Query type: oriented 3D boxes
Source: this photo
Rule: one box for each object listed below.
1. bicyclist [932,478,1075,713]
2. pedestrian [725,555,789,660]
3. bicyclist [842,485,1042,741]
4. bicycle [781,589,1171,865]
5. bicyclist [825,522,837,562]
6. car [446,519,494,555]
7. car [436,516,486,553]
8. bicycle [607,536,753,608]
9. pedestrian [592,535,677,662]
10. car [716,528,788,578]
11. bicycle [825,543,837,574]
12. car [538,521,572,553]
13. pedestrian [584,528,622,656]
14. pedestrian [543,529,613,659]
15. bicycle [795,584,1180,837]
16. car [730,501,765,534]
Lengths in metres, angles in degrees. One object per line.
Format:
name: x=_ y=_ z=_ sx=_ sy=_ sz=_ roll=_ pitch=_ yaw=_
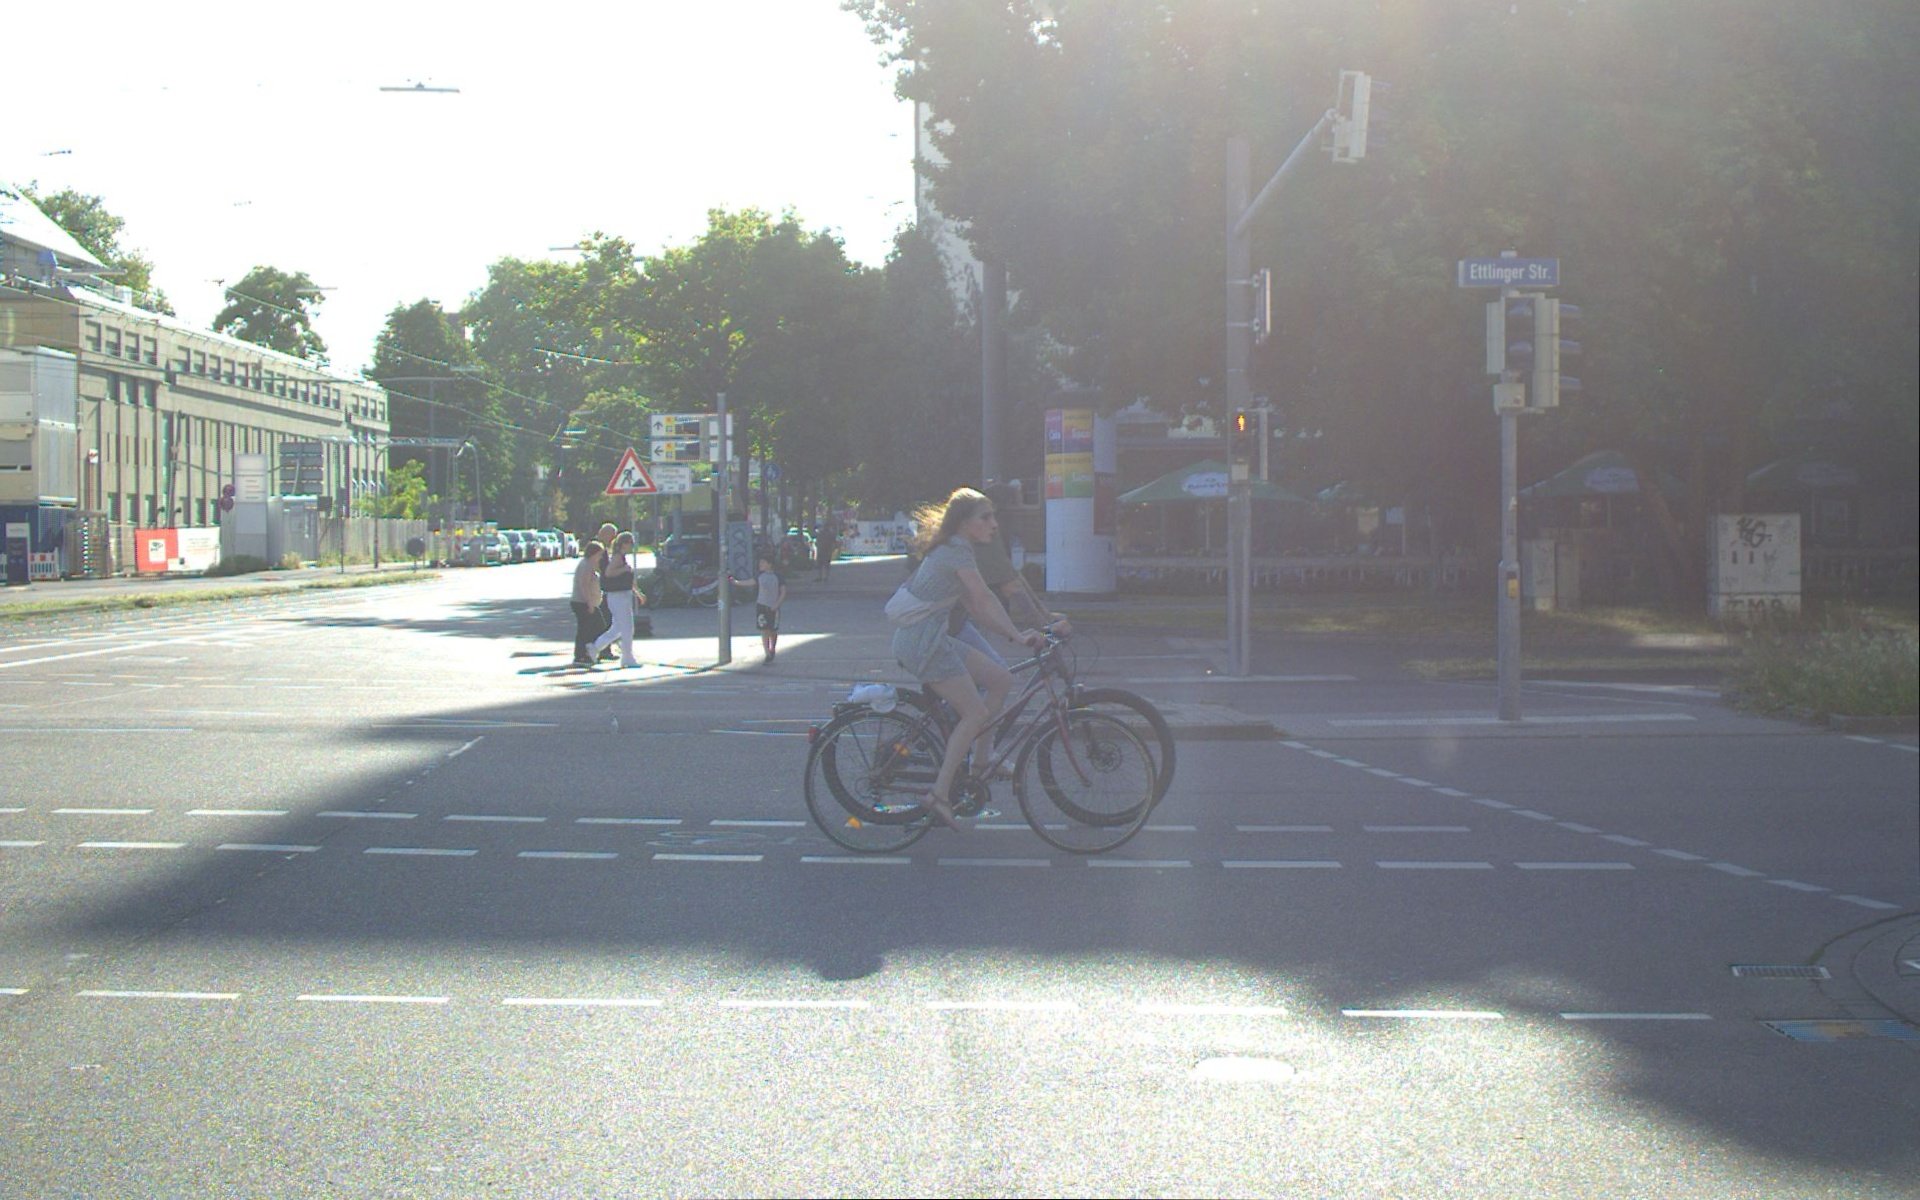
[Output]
bicyclist: x=0.222 y=-0.032 z=18.204 sx=0.720 sy=1.214 sz=0.798 roll=0 pitch=1 yaw=-1
pedestrian: x=-2.603 y=0.087 z=44.114 sx=0.752 sy=1.328 sz=0.742 roll=0 pitch=1 yaw=1
bicyclist: x=-0.099 y=0.056 z=16.790 sx=0.925 sy=1.214 sz=0.797 roll=0 pitch=1 yaw=-3
bicycle: x=0.061 y=0.603 z=16.809 sx=1.851 sy=1.287 sz=0.792 roll=0 pitch=1 yaw=-4
bicyclist: x=-3.695 y=-1.656 z=98.447 sx=0.318 sy=1.123 sz=0.291 roll=-1 pitch=1 yaw=-1
car: x=-22.798 y=-2.913 z=160.045 sx=1.731 sy=1.647 sz=4.000 roll=0 pitch=1 yaw=-1
car: x=-22.629 y=-2.986 z=155.970 sx=1.731 sy=1.647 sz=4.000 roll=0 pitch=1 yaw=-1
bicycle: x=-5.467 y=-0.550 z=67.145 sx=2.748 sy=1.363 sz=0.630 roll=1 pitch=0 yaw=11
pedestrian: x=-4.091 y=-0.023 z=43.258 sx=0.984 sy=1.582 sz=0.660 roll=0 pitch=0 yaw=1
car: x=-5.469 y=-1.262 z=90.909 sx=1.819 sy=1.274 sz=4.001 roll=0 pitch=1 yaw=-3
bicycle: x=-3.693 y=-1.193 z=98.508 sx=0.324 sy=0.865 sz=1.483 roll=-1 pitch=1 yaw=-3
car: x=-22.818 y=-3.560 z=193.913 sx=1.483 sy=1.744 sz=4.000 roll=-1 pitch=1 yaw=-1
pedestrian: x=-4.667 y=-0.108 z=44.959 sx=0.441 sy=1.657 sz=0.376 roll=-1 pitch=1 yaw=-1
pedestrian: x=-4.865 y=-0.084 z=43.778 sx=0.795 sy=1.634 sz=0.533 roll=0 pitch=1 yaw=2
bicycle: x=0.131 y=0.570 z=18.197 sx=1.985 sy=1.287 sz=0.792 roll=0 pitch=1 yaw=-2
car: x=-13.091 y=-5.077 z=211.953 sx=1.993 sy=2.007 sz=4.000 roll=-1 pitch=1 yaw=-1
